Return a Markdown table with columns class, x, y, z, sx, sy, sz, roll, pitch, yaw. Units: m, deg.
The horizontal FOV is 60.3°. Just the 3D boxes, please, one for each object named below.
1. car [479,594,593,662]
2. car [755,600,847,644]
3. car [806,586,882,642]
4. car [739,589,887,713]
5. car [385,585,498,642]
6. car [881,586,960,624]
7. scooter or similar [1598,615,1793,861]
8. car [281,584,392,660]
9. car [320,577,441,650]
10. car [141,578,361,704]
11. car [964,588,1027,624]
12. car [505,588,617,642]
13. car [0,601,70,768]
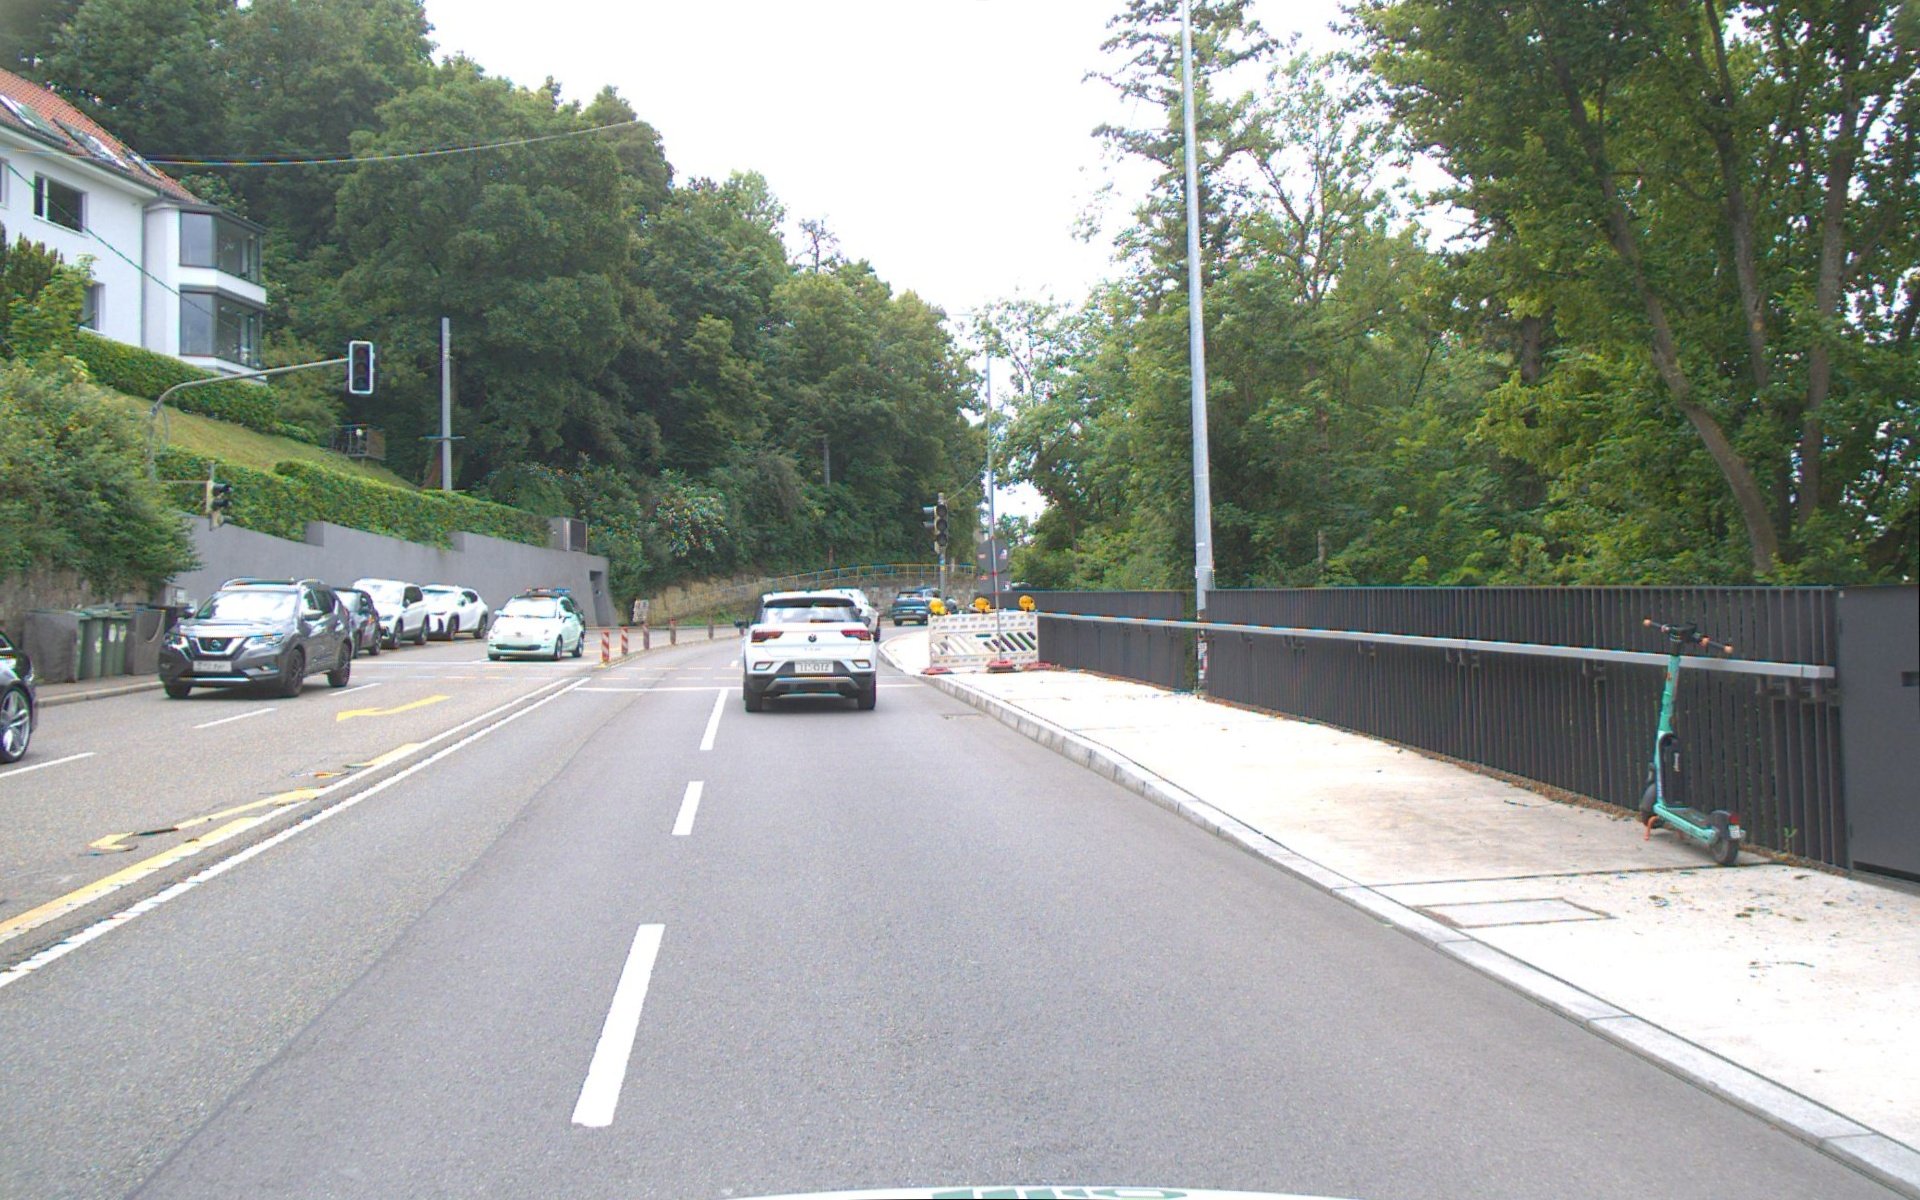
| class | x | y | z | sx | sy | sz | roll | pitch | yaw |
| --- | --- | --- | --- | --- | --- | --- | --- | --- | --- |
| car | -9.933 | 0.627 | 38.996 | 1.675 | 1.492 | 3.661 | 1 | 0 | 1 |
| car | -5.963 | 0.829 | 62.550 | 1.867 | 1.601 | 4.000 | 1 | 0 | 21 |
| car | -3.491 | 0.416 | 50.543 | 1.952 | 1.614 | 4.000 | 1 | 0 | 1 |
| car | -2.119 | 0.630 | 22.990 | 1.832 | 1.563 | 3.796 | 0 | 1 | -9 |
| car | -15.436 | 0.391 | 49.453 | 1.794 | 1.600 | 4.476 | 1 | 0 | 2 |
| car | -1.698 | 0.233 | 72.450 | 1.953 | 1.568 | 4.008 | 1 | 0 | 23 |
| scooter or similar | 4.113 | 0.733 | 9.327 | 0.523 | 1.248 | 1.206 | -2 | 1 | -1 |
| car | -14.670 | 0.483 | 39.058 | 1.678 | 1.600 | 2.954 | 3 | 1 | -7 |
| car | -15.231 | 0.339 | 43.717 | 1.823 | 1.761 | 4.756 | 2 | 0 | -5 |
| car | -10.653 | 0.561 | 25.228 | 1.847 | 1.726 | 4.664 | 0 | 0 | -7 |
| car | 1.816 | 0.321 | 82.935 | 1.779 | 1.719 | 3.998 | 1 | 0 | 23 |
| car | -12.505 | 0.450 | 52.099 | 1.674 | 1.626 | 4.210 | 0 | 0 | 14 |
| car | -9.156 | 0.745 | 13.396 | 1.775 | 1.455 | 4.867 | 0 | 0 | -7 |
